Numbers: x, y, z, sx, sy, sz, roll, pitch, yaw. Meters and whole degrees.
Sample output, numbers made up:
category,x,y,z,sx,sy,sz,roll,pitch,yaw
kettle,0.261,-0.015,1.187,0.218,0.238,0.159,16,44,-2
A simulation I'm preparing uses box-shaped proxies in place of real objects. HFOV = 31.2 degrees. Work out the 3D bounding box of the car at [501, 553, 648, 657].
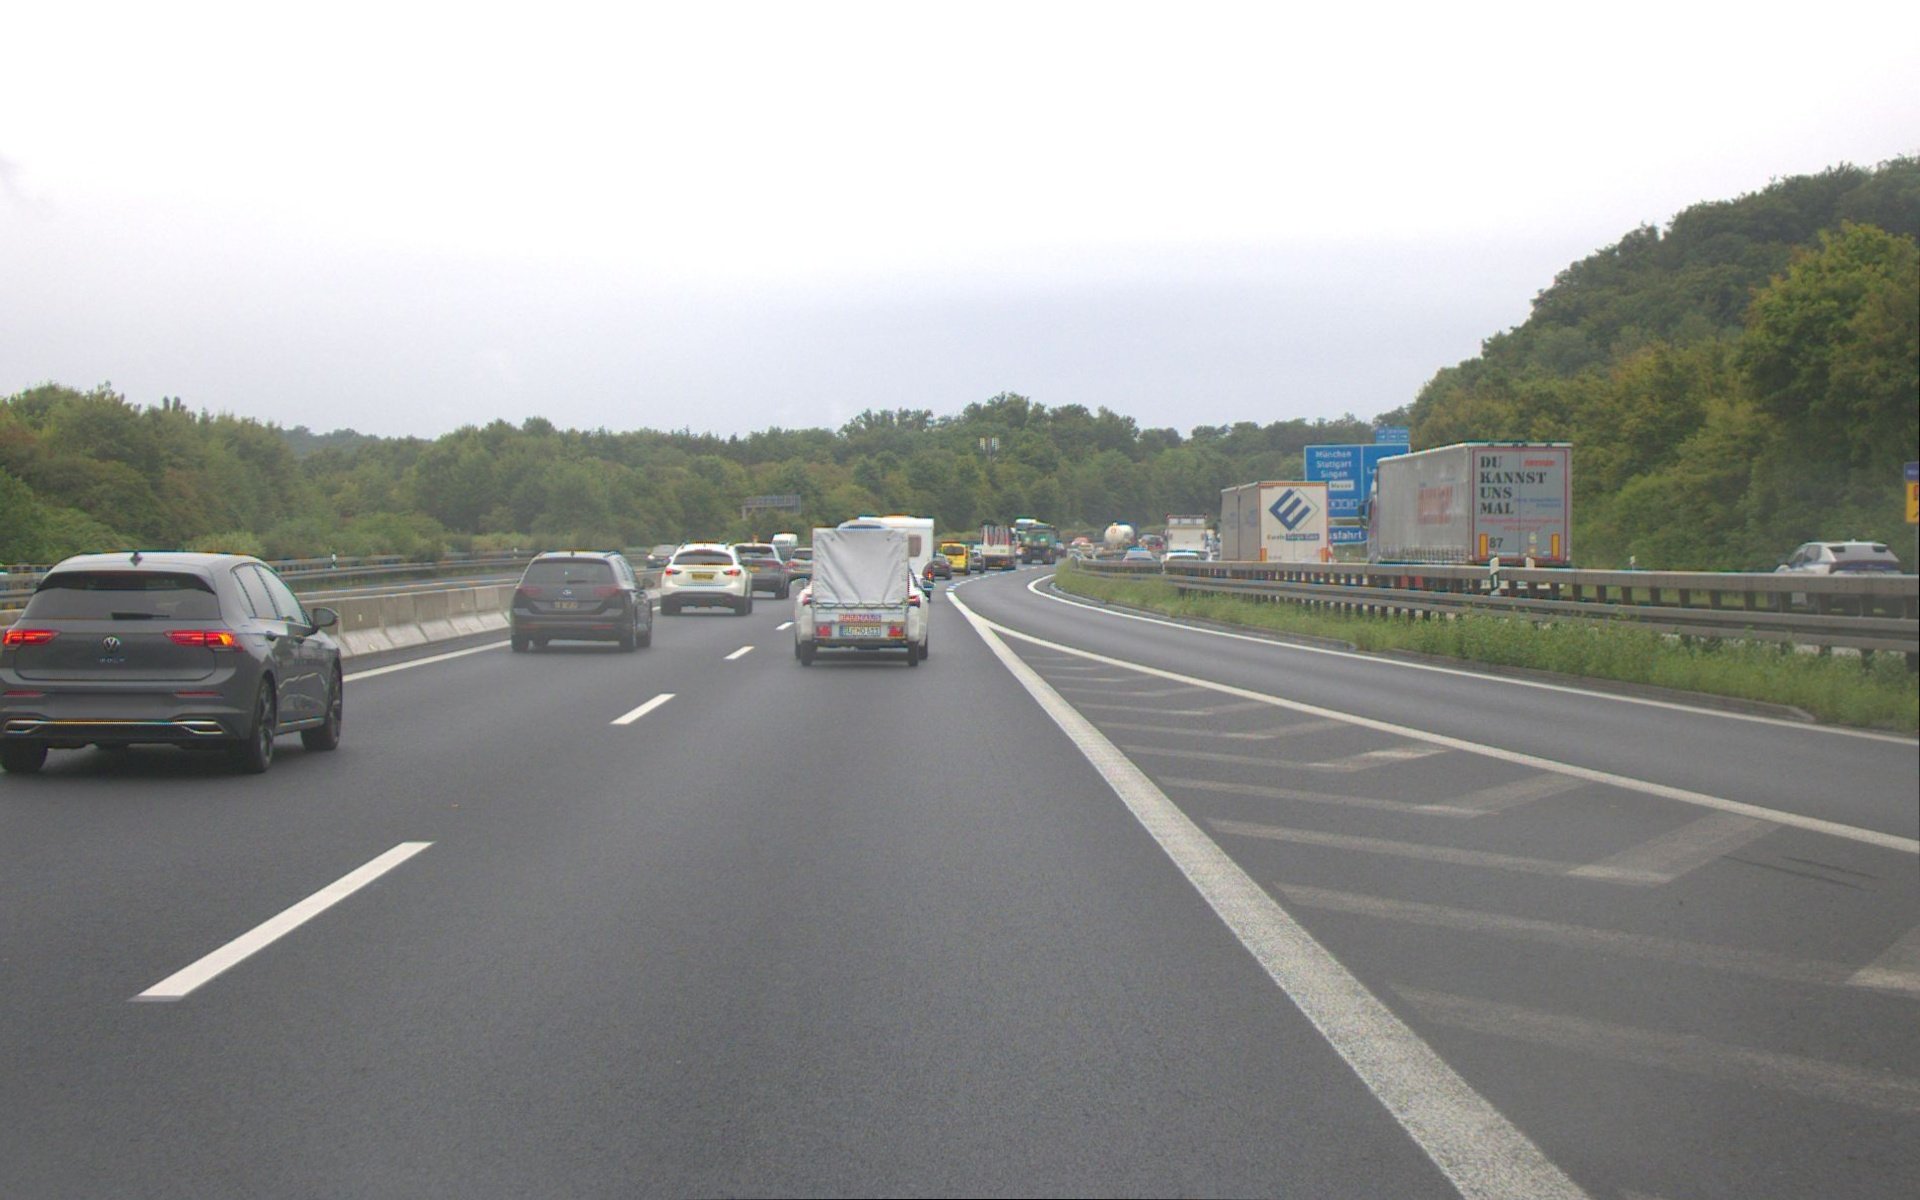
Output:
category,x,y,z,sx,sy,sz,roll,pitch,yaw
car,-5.668,0.050,50.912,1.765,1.451,4.000,1,1,-1

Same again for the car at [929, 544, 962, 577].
category,x,y,z,sx,sy,sz,roll,pitch,yaw
car,-0.785,-2.186,190.632,1.676,1.806,4.000,1,1,1

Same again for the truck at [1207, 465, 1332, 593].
category,x,y,z,sx,sy,sz,roll,pitch,yaw
truck,11.769,-2.656,132.115,3.215,4.650,13.033,1,1,-2

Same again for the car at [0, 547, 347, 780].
category,x,y,z,sx,sy,sz,roll,pitch,yaw
car,-5.409,0.381,23.762,1.675,1.451,4.000,1,1,-1

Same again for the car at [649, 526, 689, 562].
category,x,y,z,sx,sy,sz,roll,pitch,yaw
car,-16.964,-3.245,200.522,1.993,2.007,4.983,1,1,-1

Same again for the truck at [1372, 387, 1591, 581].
category,x,y,z,sx,sy,sz,roll,pitch,yaw
truck,13.363,-2.861,89.458,3.215,4.650,13.034,1,1,-2

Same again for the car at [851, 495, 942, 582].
category,x,y,z,sx,sy,sz,roll,pitch,yaw
car,-1.914,-1.878,105.808,2.507,2.576,5.699,1,1,1

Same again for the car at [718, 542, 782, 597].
category,x,y,z,sx,sy,sz,roll,pitch,yaw
car,-6.466,-0.937,106.287,1.775,1.634,4.043,1,1,-1

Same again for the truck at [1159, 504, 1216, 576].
category,x,y,z,sx,sy,sz,roll,pitch,yaw
truck,15.343,-3.990,231.534,3.663,4.650,13.031,1,1,4

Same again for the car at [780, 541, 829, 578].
category,x,y,z,sx,sy,sz,roll,pitch,yaw
car,-6.992,-1.829,154.654,1.776,1.634,4.043,1,1,3

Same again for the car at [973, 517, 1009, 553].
category,x,y,z,sx,sy,sz,roll,pitch,yaw
car,2.310,-4.816,255.438,2.516,2.566,5.312,1,1,1

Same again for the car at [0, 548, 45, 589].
category,x,y,z,sx,sy,sz,roll,pitch,yaw
car,-34.135,-1.143,123.036,1.675,1.451,4.633,1,1,-2

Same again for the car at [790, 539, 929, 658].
category,x,y,z,sx,sy,sz,roll,pitch,yaw
car,-1.396,-0.044,49.412,1.818,1.610,4.778,1,1,0

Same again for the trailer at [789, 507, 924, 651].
category,x,y,z,sx,sy,sz,roll,pitch,yaw
trailer,-1.338,-0.283,45.775,1.676,1.806,4.000,1,1,0

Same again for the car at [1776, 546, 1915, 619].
category,x,y,z,sx,sy,sz,roll,pitch,yaw
car,18.214,-0.367,70.867,1.675,1.451,4.000,1,1,-2

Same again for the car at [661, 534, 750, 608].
category,x,y,z,sx,sy,sz,roll,pitch,yaw
car,-5.836,-0.661,79.173,1.775,1.634,4.043,1,1,-1

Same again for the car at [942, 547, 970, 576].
category,x,y,z,sx,sy,sz,roll,pitch,yaw
car,-0.235,-2.483,219.451,1.676,1.806,4.000,1,1,1

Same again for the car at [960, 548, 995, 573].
category,x,y,z,sx,sy,sz,roll,pitch,yaw
car,1.160,-2.675,232.111,2.038,1.677,3.999,1,1,5
